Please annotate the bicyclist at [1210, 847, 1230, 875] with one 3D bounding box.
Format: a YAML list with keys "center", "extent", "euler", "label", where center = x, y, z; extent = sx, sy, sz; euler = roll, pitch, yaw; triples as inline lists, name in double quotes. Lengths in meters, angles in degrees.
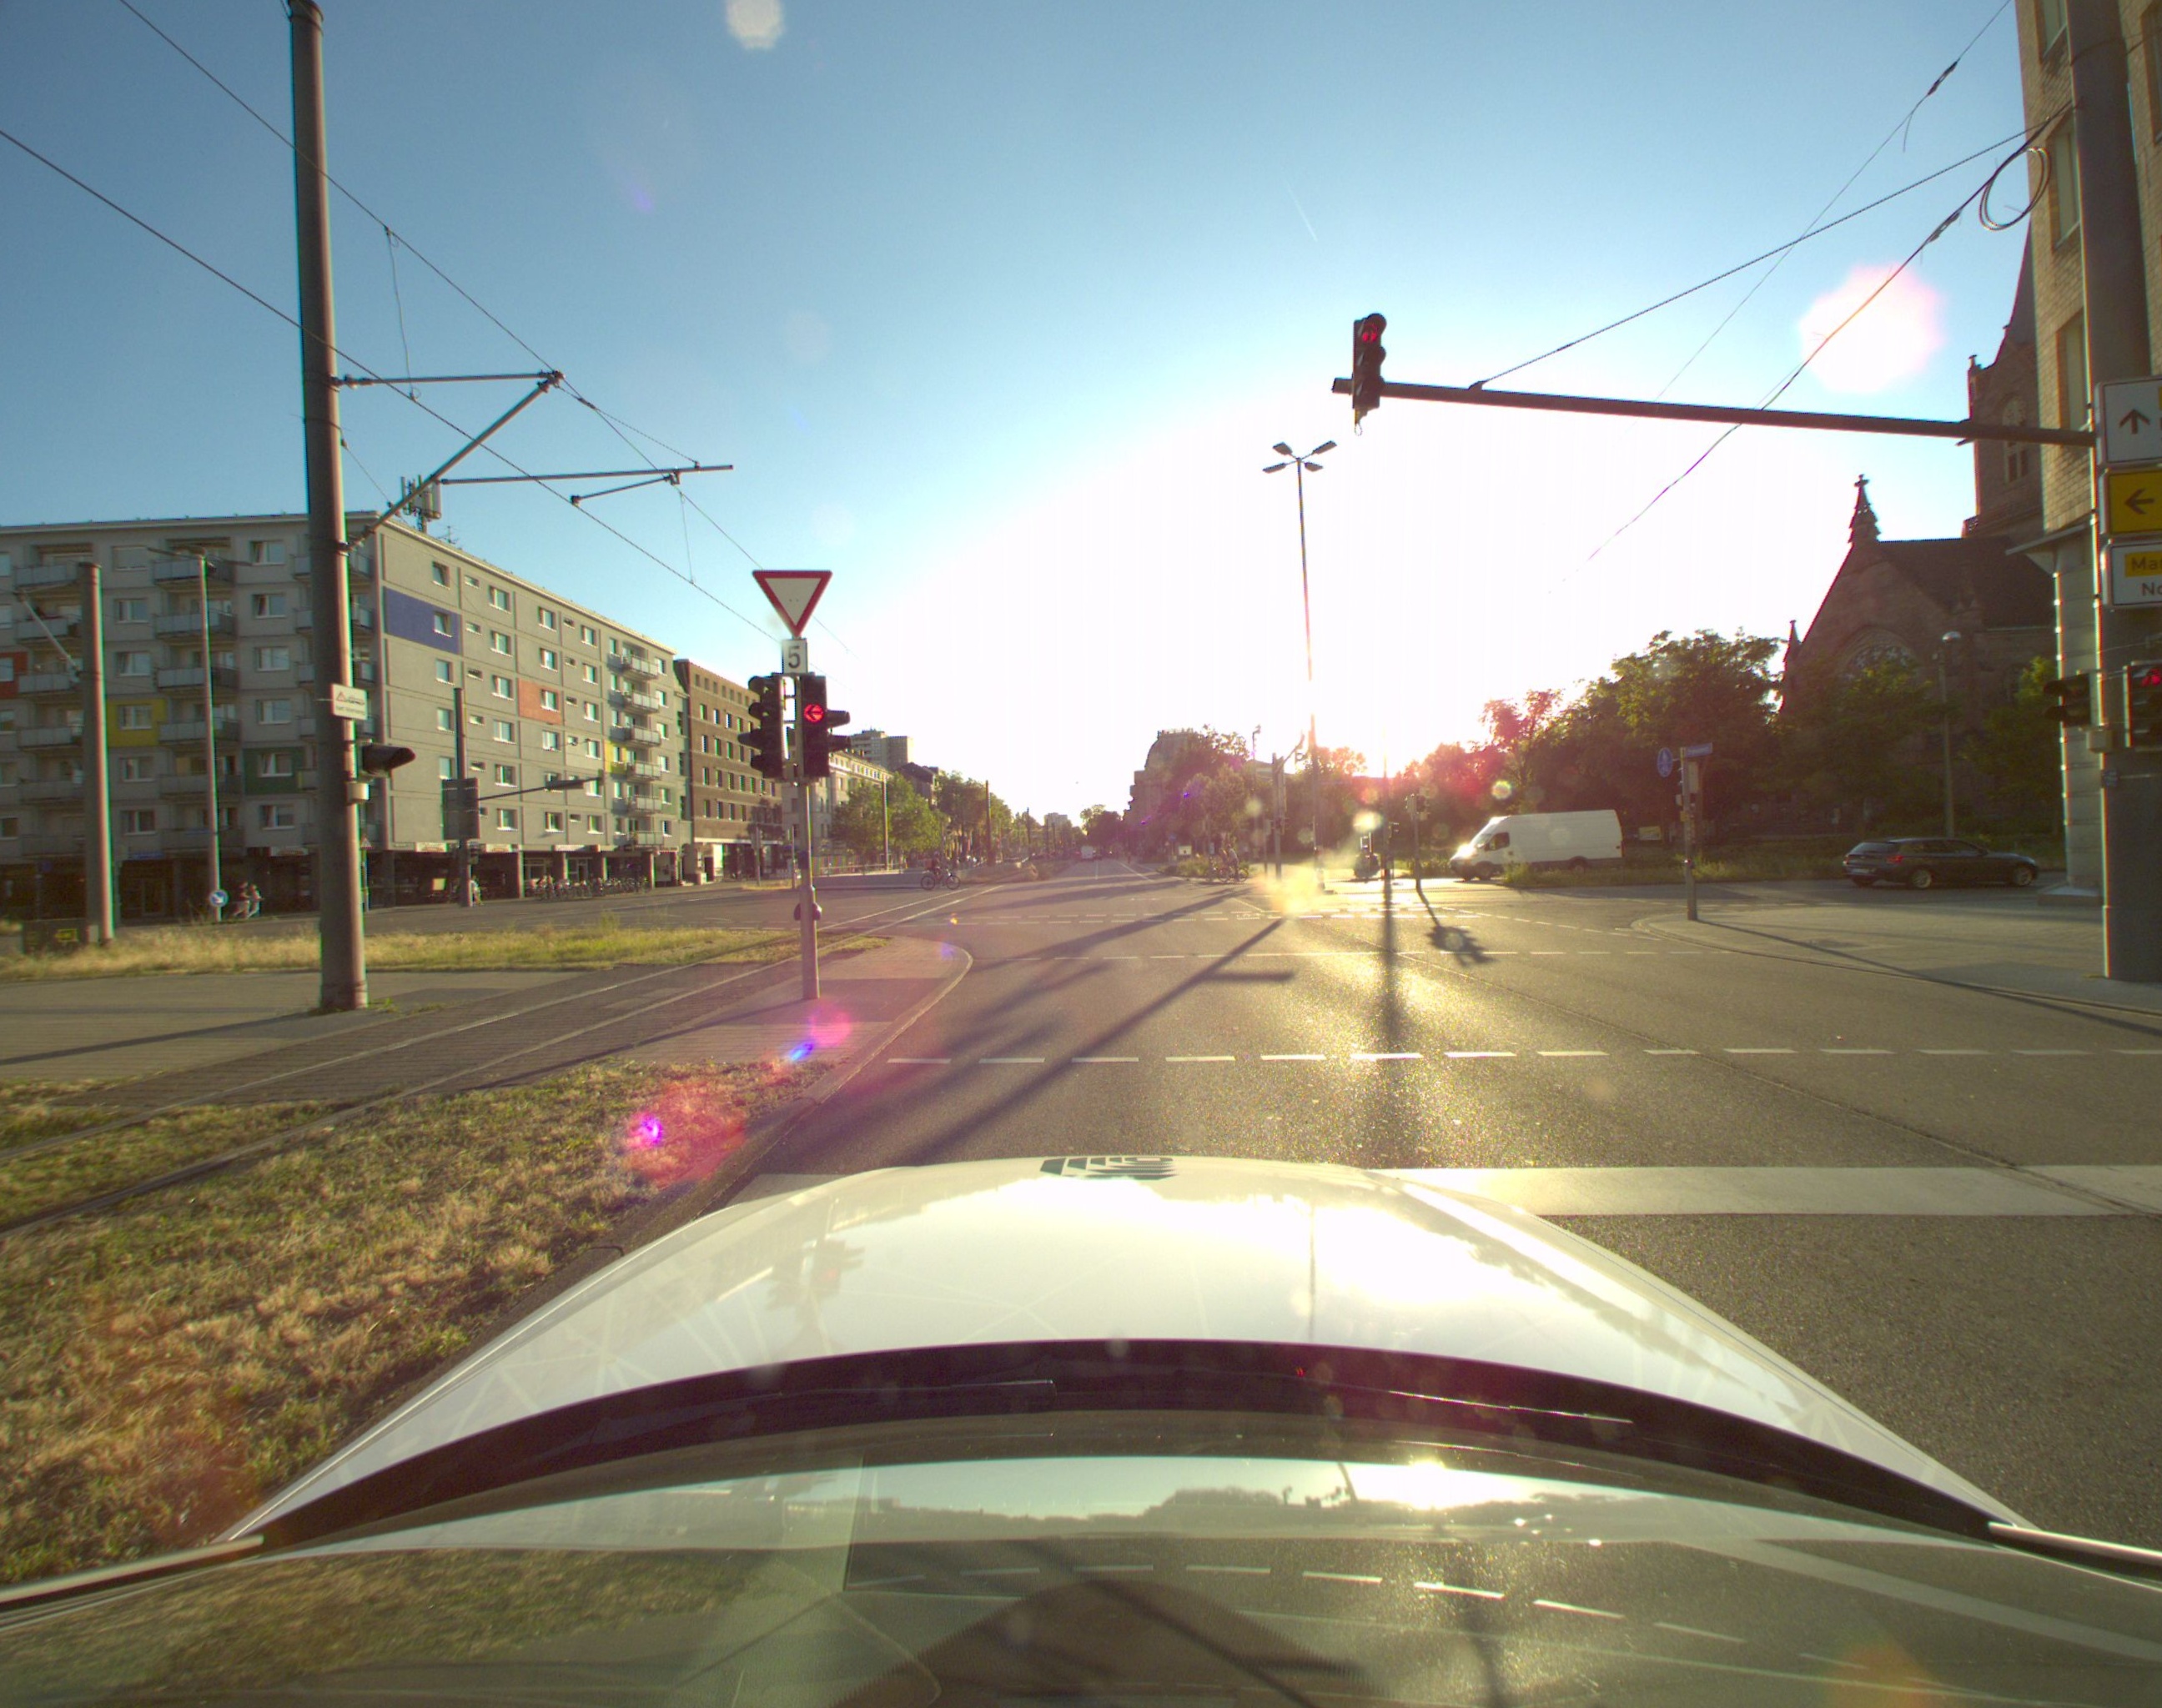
- center: [7.312, 0.364, 42.892]
  extent: [0.851, 1.442, 0.663]
  euler: [-2, 1, -1]
  label: "bicyclist"

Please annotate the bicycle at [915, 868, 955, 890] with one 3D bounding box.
- center: [-6.906, 1.191, 38.440]
  extent: [1.737, 0.970, 0.698]
  euler: [0, 2, -25]
  label: "bicycle"

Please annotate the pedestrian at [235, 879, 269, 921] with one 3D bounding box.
- center: [-37.942, 2.083, 37.287]
  extent: [0.600, 1.847, 0.822]
  euler: [-2, 1, 1]
  label: "pedestrian"

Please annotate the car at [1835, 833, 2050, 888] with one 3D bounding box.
- center: [23.918, 0.163, 22.738]
  extent: [3.966, 1.434, 1.722]
  euler: [-1, 1, 6]
  label: "car"

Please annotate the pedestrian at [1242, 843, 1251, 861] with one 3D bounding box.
- center: [15.165, -0.219, 74.696]
  extent: [0.679, 1.611, 0.613]
  euler: [-2, 1, 1]
  label: "pedestrian"

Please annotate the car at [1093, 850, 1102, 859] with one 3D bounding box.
- center: [3.237, 0.083, 157.709]
  extent: [1.731, 1.385, 4.002]
  euler: [-2, 1, 2]
  label: "car"

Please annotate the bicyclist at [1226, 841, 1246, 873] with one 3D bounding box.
- center: [7.782, 0.152, 40.843]
  extent: [0.790, 1.571, 0.667]
  euler: [-2, 1, 29]
  label: "bicyclist"

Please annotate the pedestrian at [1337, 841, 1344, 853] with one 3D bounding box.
- center: [37.113, -1.022, 116.529]
  extent: [0.791, 1.701, 0.803]
  euler: [-2, 0, 16]
  label: "pedestrian"

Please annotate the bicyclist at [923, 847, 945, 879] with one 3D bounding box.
- center: [-6.922, 0.409, 38.326]
  extent: [0.857, 1.442, 0.658]
  euler: [-1, 1, -25]
  label: "bicyclist"

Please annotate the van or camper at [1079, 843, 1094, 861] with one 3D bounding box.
- center: [0.903, -0.368, 131.166]
  extent: [2.254, 2.624, 4.505]
  euler: [-2, 1, 2]
  label: "van or camper"

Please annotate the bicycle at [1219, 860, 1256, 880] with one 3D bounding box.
- center: [7.851, 0.815, 40.816]
  extent: [1.712, 0.970, 0.613]
  euler: [-1, 1, 28]
  label: "bicycle"

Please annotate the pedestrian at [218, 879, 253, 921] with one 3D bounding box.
- center: [-38.751, 2.108, 37.323]
  extent: [0.702, 1.851, 0.737]
  euler: [-2, 1, 1]
  label: "pedestrian"

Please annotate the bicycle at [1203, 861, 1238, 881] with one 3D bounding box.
- center: [7.351, 0.883, 42.902]
  extent: [1.713, 0.970, 0.609]
  euler: [-2, 1, -1]
  label: "bicycle"

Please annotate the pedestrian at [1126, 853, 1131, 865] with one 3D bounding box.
- center: [6.153, 0.625, 105.589]
  extent: [0.613, 1.475, 0.801]
  euler: [-2, 1, 5]
  label: "pedestrian"

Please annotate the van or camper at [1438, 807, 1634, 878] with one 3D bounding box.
- center: [19.617, -0.503, 35.417]
  extent: [7.013, 2.674, 2.601]
  euler: [-2, 1, 3]
  label: "van or camper"

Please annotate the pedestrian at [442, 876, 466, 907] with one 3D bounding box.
- center: [-34.635, 2.069, 44.981]
  extent: [0.731, 1.669, 0.788]
  euler: [-2, 1, 38]
  label: "pedestrian"
